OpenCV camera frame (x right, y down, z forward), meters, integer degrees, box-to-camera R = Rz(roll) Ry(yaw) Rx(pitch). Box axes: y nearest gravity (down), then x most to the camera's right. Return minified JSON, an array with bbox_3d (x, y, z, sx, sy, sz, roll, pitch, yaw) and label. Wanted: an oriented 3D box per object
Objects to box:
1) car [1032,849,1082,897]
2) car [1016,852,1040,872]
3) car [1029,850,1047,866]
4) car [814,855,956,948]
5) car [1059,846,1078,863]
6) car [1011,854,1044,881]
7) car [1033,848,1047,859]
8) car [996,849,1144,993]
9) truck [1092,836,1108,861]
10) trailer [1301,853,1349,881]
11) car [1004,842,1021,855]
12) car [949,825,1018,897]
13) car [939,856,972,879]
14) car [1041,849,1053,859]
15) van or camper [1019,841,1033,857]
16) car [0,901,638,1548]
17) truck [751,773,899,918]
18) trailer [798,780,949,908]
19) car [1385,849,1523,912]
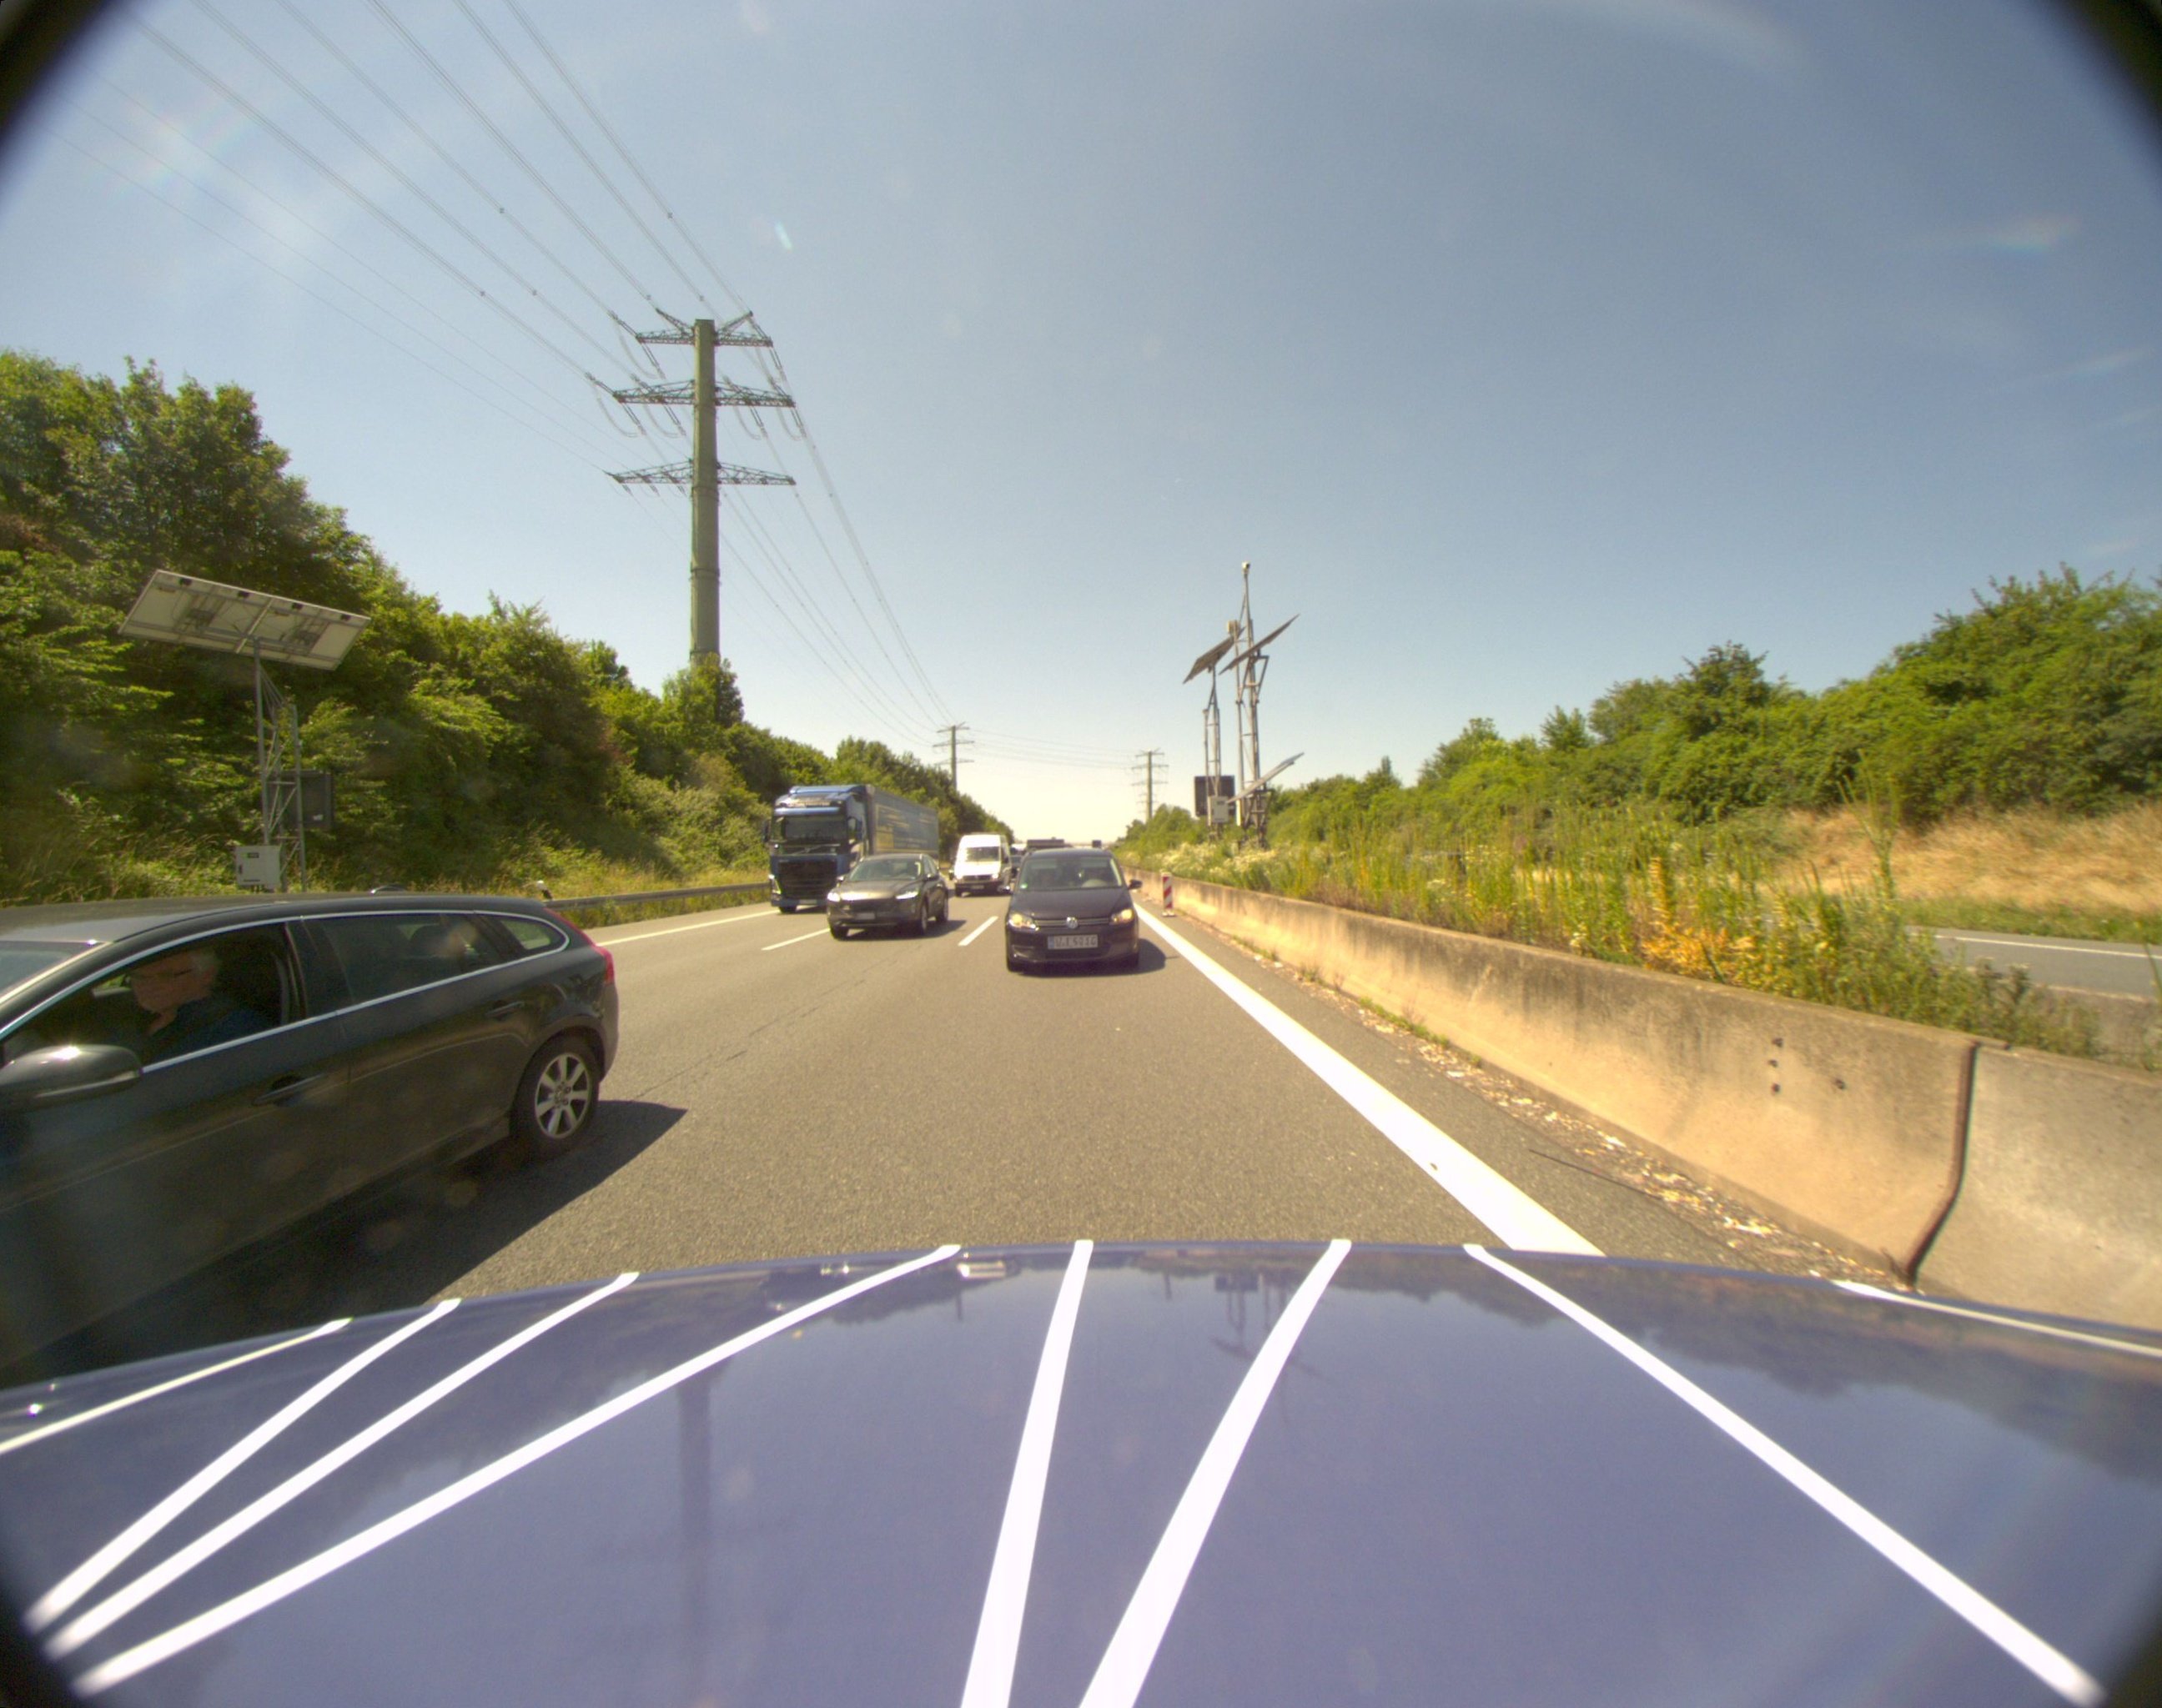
[{"bbox_3d":[-0.881,0.664,29.253,1.700,1.641,4.219,-2,1,0],"label":"car"},{"bbox_3d":[-4.499,0.649,65.229,1.720,1.510,3.873,-2,1,0],"label":"car"},{"bbox_3d":[-4.660,0.415,82.374,1.720,1.510,3.873,-2,1,0],"label":"car"},{"bbox_3d":[-3.984,0.888,16.202,1.893,1.602,4.219,-2,1,-1],"label":"car"},{"bbox_3d":[-1.319,0.040,84.351,1.973,1.682,3.873,-2,1,0],"label":"car"},{"bbox_3d":[-3.293,0.802,47.581,1.720,1.510,3.873,-2,1,0],"label":"car"},{"bbox_3d":[-5.781,-0.110,106.835,1.720,1.510,3.873,-2,1,0],"label":"car"},{"bbox_3d":[-0.143,0.785,11.169,1.700,1.641,4.219,-2,1,0],"label":"car"},{"bbox_3d":[2.558,-0.741,104.492,1.892,3.264,5.590,-2,1,0],"label":"truck"},{"bbox_3d":[14.450,0.719,45.105,1.573,1.543,3.778,1,0,0],"label":"trailer"},{"bbox_3d":[-8.859,-0.722,98.131,1.720,1.510,3.873,-2,1,0],"label":"car"},{"bbox_3d":[-4.003,0.233,32.387,2.042,2.703,6.704,-2,1,0],"label":"car"},{"bbox_3d":[-9.183,0.970,55.987,1.720,1.510,3.873,-2,1,0],"label":"car"},{"bbox_3d":[-5.410,-0.005,120.382,1.720,1.510,3.873,-2,1,0],"label":"car"},{"bbox_3d":[-9.351,-0.813,128.855,1.979,2.511,4.369,-2,1,0],"label":"van or camper"},{"bbox_3d":[-3.617,1.052,2.367,1.799,1.411,4.509,-2,1,0],"label":"car"},{"bbox_3d":[-8.126,-0.267,24.990,2.792,4.121,5.635,-2,1,0],"label":"truck"},{"bbox_3d":[-8.178,-0.415,32.276,2.774,4.239,12.875,-2,1,0],"label":"trailer"},{"bbox_3d":[10.918,0.705,22.626,1.999,1.674,4.152,1,0,-1],"label":"car"}]
